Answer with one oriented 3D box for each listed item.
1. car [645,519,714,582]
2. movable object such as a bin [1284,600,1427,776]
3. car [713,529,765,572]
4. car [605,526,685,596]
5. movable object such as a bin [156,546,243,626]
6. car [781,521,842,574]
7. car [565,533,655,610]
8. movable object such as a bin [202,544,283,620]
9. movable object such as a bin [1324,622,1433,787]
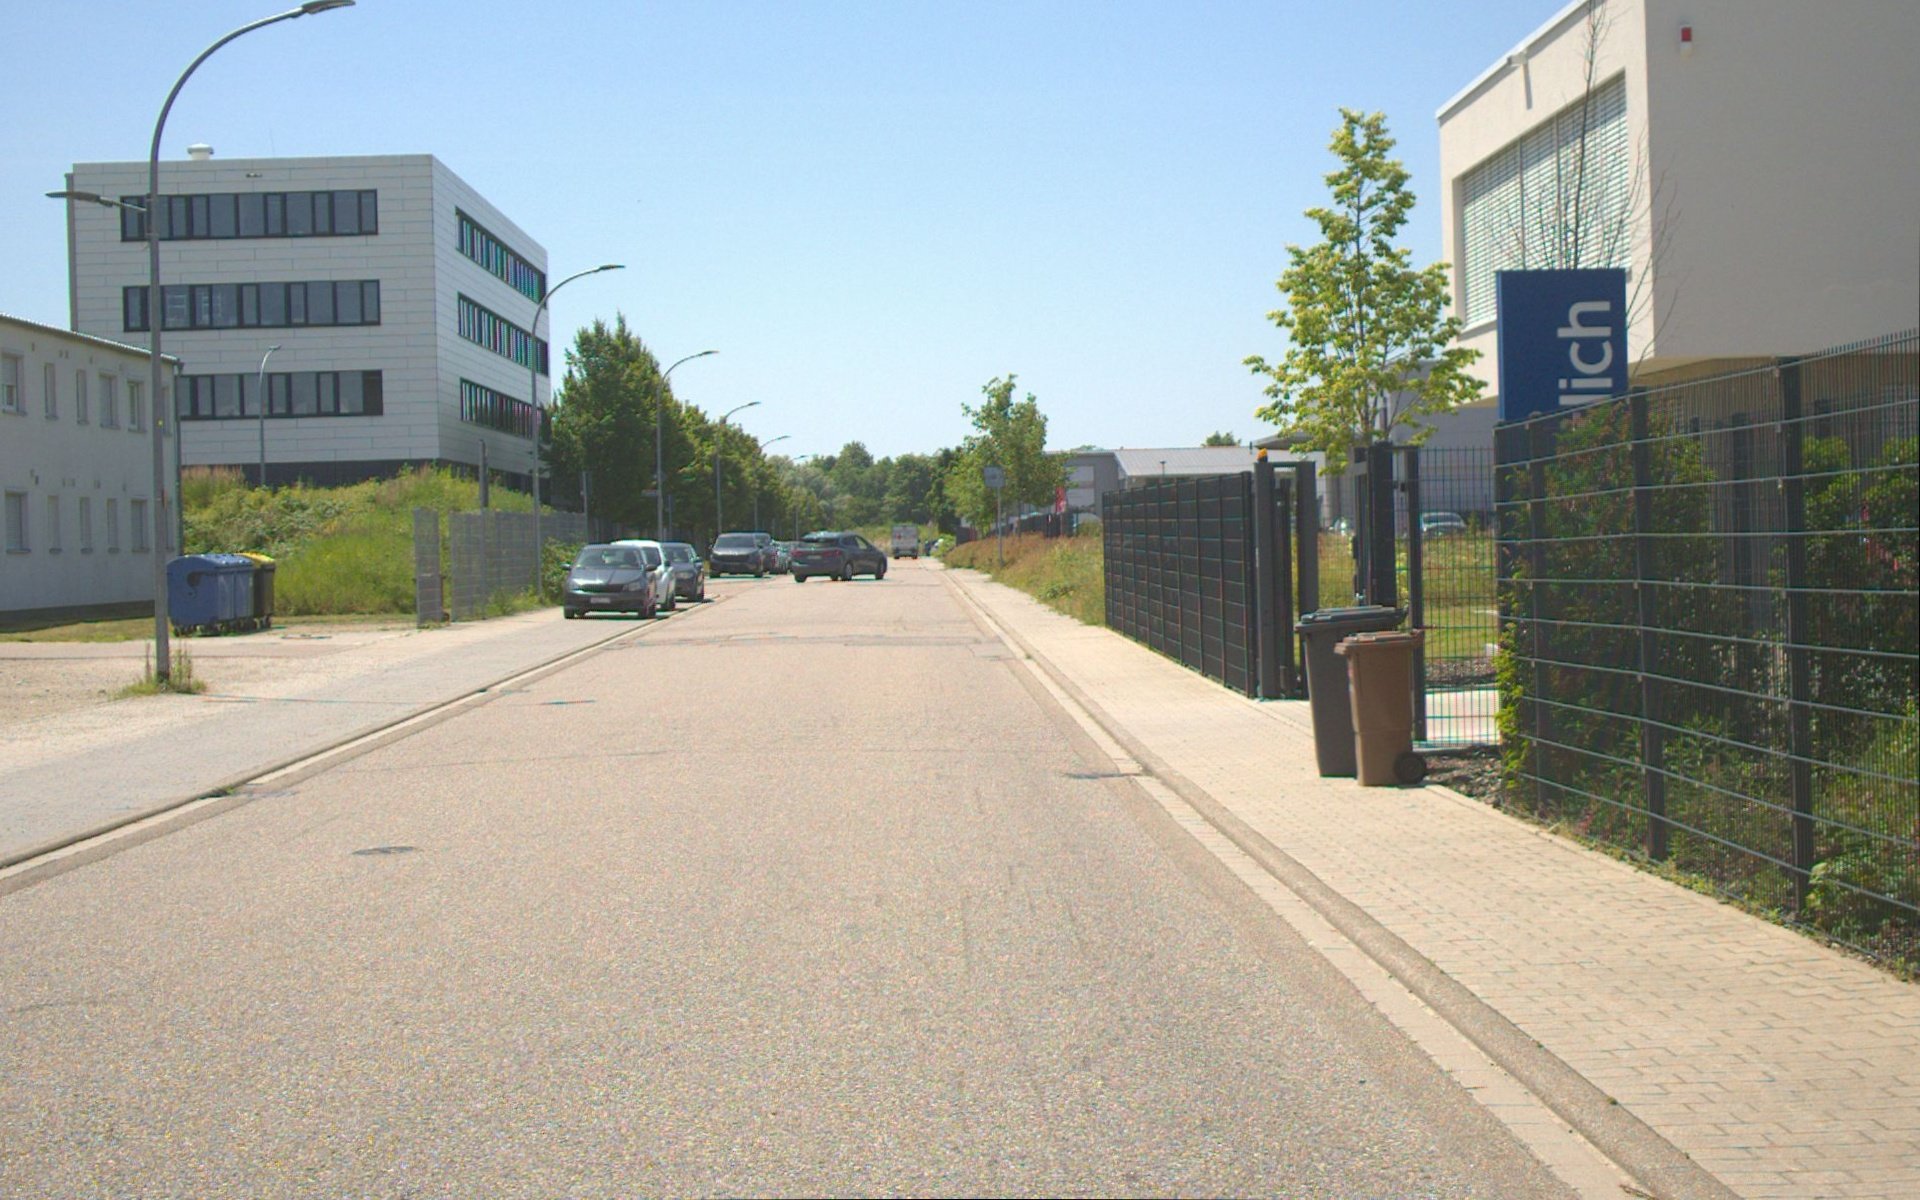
[{"bbox_3d":[-6.888,-1.228,84.623,1.466,1.484,3.207,-1,1,-1],"label":"car"},{"bbox_3d":[2.523,0.555,21.986,0.779,1.016,0.665,-5,2,4],"label":"movable object such as a bin"},{"bbox_3d":[-7.941,-1.795,123.710,1.644,1.484,3.207,-1,1,-1],"label":"car"},{"bbox_3d":[-6.920,-0.863,75.733,1.466,1.484,3.207,-1,1,-1],"label":"car"},{"bbox_3d":[-13.788,-0.263,62.422,1.285,1.407,1.807,-1,1,-5],"label":"movable object such as a bin"},{"bbox_3d":[-4.736,-1.670,109.754,1.826,1.636,3.207,-1,1,-1],"label":"car"},{"bbox_3d":[-6.976,-0.585,68.741,1.466,1.484,3.207,-1,1,-1],"label":"car"},{"bbox_3d":[-13.766,-0.353,66.012,1.285,1.407,1.807,-1,1,-5],"label":"movable object such as a bin"},{"bbox_3d":[2.553,0.630,21.004,0.552,0.925,0.522,-5,2,4],"label":"movable object such as a bin"}]
